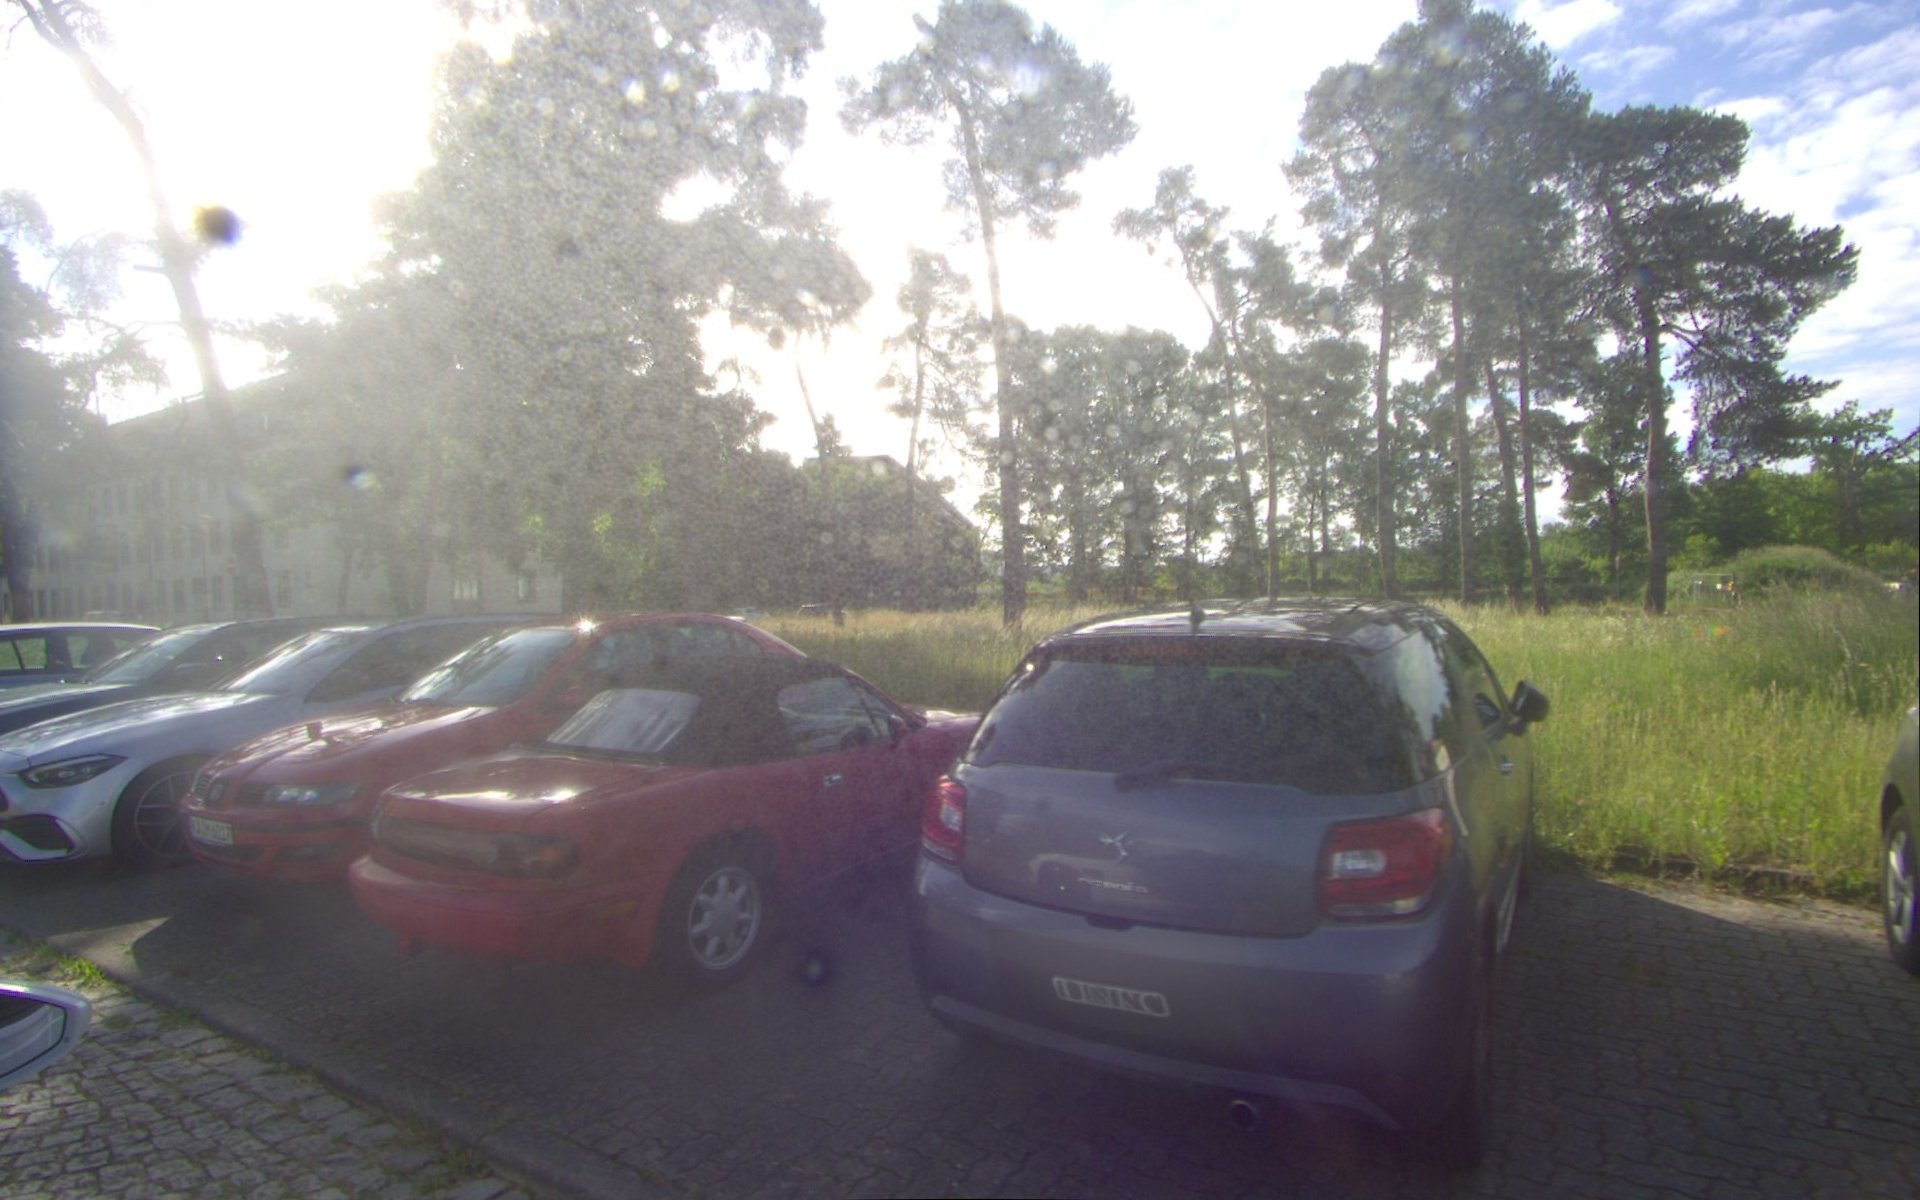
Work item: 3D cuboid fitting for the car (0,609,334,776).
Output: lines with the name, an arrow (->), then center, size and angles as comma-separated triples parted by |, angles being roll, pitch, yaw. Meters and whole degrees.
car -> -9.171, 0.906, 10.680 | 1.613, 1.435, 3.871 | 0, 2, 33

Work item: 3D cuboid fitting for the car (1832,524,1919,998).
car -> 3.474, 0.513, 2.180 | 1.830, 1.469, 3.697 | 0, 2, 33

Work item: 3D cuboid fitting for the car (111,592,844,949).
car -> -2.727, 0.763, 6.658 | 1.613, 1.469, 4.116 | 0, 2, 33

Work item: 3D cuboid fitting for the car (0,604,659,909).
car -> -4.669, 0.853, 7.662 | 1.755, 1.435, 4.419 | 0, 2, 33

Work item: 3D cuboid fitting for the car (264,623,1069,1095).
car -> -1.053, 0.848, 5.112 | 1.722, 1.240, 3.697 | 0, 2, 33

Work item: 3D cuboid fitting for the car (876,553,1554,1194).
car -> 1.480, 0.567, 4.327 | 1.790, 1.469, 3.697 | 0, 2, 32

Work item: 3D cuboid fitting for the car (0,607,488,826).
car -> -6.917, 0.887, 9.116 | 1.613, 1.435, 4.547 | 0, 2, 33
